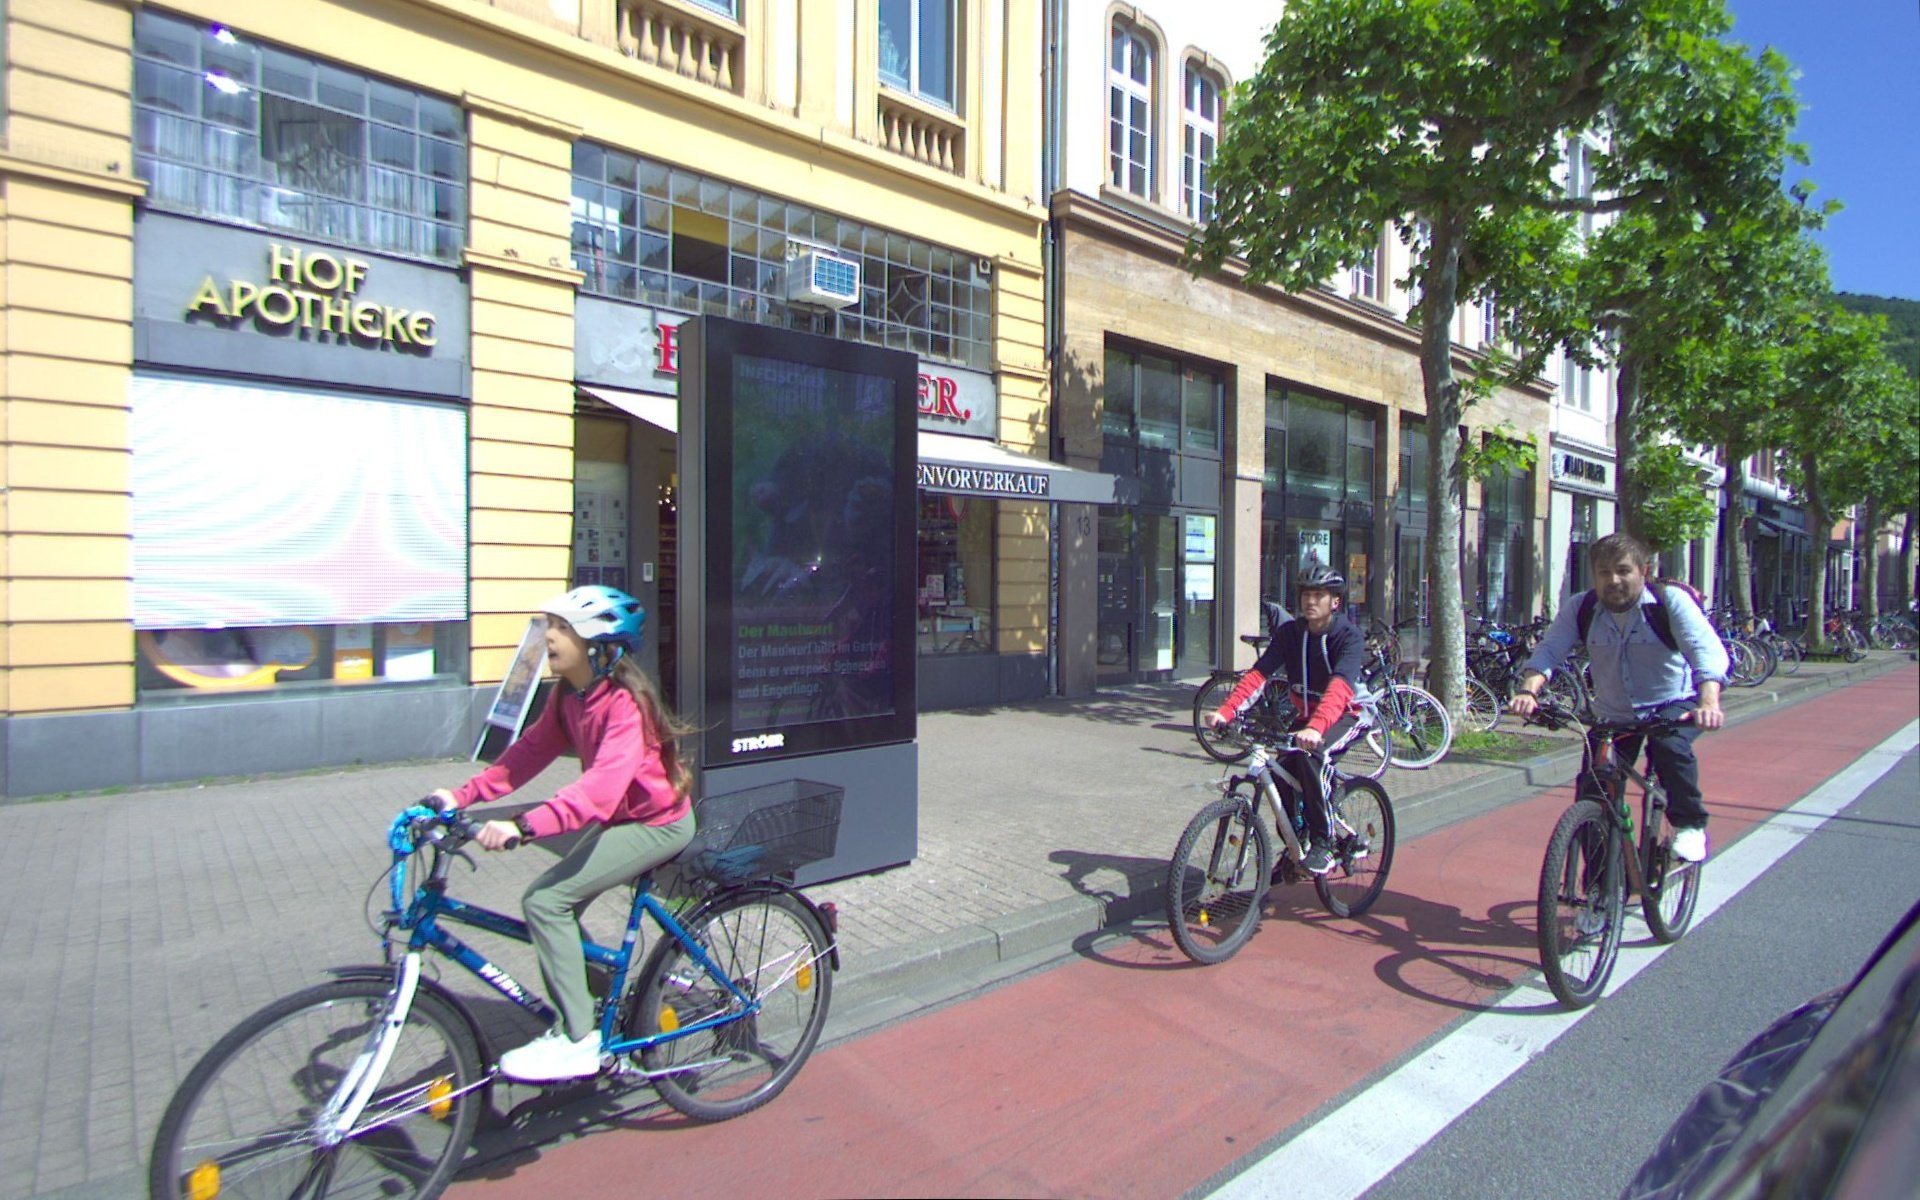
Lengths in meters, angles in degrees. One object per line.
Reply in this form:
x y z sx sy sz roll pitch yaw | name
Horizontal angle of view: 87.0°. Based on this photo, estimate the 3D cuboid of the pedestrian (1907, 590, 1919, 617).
59.486 0.220 62.637 0.892 1.630 0.970 1 4 21 | pedestrian

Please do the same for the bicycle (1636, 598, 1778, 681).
11.700 0.585 15.899 0.469 1.232 1.733 0 0 -38 | bicycle

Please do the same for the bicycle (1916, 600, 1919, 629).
37.563 0.554 38.374 0.554 1.107 1.843 0 0 -40 | bicycle

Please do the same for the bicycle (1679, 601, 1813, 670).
13.730 0.596 17.716 0.723 1.123 1.733 0 0 -38 | bicycle

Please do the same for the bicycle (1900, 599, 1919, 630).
36.622 0.529 38.010 1.835 1.141 0.755 -2 0 37 | bicycle

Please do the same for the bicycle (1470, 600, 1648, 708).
7.340 0.621 12.484 0.465 1.216 1.848 0 0 -38 | bicycle

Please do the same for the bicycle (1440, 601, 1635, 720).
6.499 0.636 11.480 0.597 1.216 1.848 0 0 -38 | bicycle

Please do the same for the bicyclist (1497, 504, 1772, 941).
2.664 0.408 3.982 0.945 1.464 0.699 0 -1 -44 | bicyclist

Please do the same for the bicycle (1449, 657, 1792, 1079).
2.689 0.856 4.001 2.047 1.141 0.699 0 -1 -44 | bicycle

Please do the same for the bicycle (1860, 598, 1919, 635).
31.005 0.534 33.456 1.760 1.212 0.573 0 0 23 | bicycle

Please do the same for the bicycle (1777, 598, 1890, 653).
20.067 0.564 23.276 0.657 1.201 1.845 0 0 -35 | bicycle

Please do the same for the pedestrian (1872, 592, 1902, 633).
28.790 0.392 31.431 0.587 1.248 0.640 -1 1 -43 | pedestrian

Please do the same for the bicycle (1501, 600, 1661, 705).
7.728 0.618 12.653 0.465 1.216 1.653 0 0 -38 | bicycle

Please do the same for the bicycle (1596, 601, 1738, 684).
10.788 0.621 15.495 0.469 1.176 1.733 0 0 -38 | bicycle

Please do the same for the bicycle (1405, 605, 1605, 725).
5.956 0.663 11.163 0.647 1.178 1.848 0 0 -38 | bicycle

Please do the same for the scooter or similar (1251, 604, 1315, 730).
3.326 0.649 10.383 0.418 1.193 1.220 0 0 28 | scooter or similar

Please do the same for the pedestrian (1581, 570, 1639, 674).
10.550 0.342 16.423 0.731 1.632 0.616 0 0 -40 | pedestrian

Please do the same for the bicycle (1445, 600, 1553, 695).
7.228 0.613 13.550 1.621 1.203 0.475 0 0 -29 | bicycle

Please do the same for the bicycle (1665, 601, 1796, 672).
13.067 0.592 17.203 0.395 1.123 1.733 0 0 -38 | bicycle

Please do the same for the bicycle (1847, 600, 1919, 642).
25.936 0.567 28.145 0.487 1.141 1.848 0 0 -29 | bicycle

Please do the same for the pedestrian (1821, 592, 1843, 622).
39.108 0.305 45.412 0.523 1.355 0.682 0 1 -43 | pedestrian

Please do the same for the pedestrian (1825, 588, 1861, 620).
42.096 0.199 48.247 0.823 1.502 1.253 -1 1 -43 | pedestrian

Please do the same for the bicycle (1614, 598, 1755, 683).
11.217 0.590 15.724 0.469 1.232 1.733 0 0 -38 | bicycle

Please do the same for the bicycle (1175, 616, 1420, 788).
2.617 0.738 8.016 0.553 1.136 1.784 0 1 -43 | bicycle

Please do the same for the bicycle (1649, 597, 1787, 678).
12.231 0.570 16.374 0.469 1.232 1.733 0 0 -38 | bicycle

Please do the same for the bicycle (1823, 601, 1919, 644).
24.549 0.585 27.270 0.779 1.111 1.846 0 0 -35 | bicycle

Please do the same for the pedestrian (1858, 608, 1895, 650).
28.220 0.881 31.151 0.566 1.258 0.788 -1 1 -43 | pedestrian

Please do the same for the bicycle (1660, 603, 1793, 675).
12.776 0.624 16.916 0.395 1.123 1.733 0 0 -38 | bicycle

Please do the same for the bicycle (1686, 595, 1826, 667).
14.739 0.539 18.778 0.723 1.264 1.936 0 0 -38 | bicycle

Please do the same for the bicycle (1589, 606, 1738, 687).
10.463 0.657 15.100 0.596 1.109 1.733 0 0 -38 | bicycle

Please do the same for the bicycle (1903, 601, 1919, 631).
36.164 0.580 37.422 1.837 1.107 0.556 -1 0 40 | bicycle

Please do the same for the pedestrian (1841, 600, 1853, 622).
39.690 0.497 45.265 0.429 0.980 0.342 0 0 -39 | pedestrian

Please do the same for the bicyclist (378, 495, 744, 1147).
-1.020 0.457 2.592 0.708 1.374 0.601 -1 1 -41 | bicyclist

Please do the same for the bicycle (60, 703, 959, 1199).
-0.966 0.851 2.642 2.051 0.937 0.601 -1 1 -42 | bicycle

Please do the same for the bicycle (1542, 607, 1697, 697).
8.850 0.664 13.642 0.596 1.109 1.653 0 0 -38 | bicycle

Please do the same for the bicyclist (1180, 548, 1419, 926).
1.491 0.528 4.439 0.777 1.459 0.699 0 -1 -44 | bicyclist

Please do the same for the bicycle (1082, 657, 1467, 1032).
1.451 0.880 4.390 2.047 1.141 0.699 0 -1 -44 | bicycle

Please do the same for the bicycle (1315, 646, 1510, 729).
4.743 0.889 10.649 1.833 0.725 0.652 0 0 29 | bicycle

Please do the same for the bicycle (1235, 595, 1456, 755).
3.498 0.625 9.227 1.811 1.325 0.682 0 0 30 | bicycle

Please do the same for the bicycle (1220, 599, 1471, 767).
3.253 0.639 8.603 1.923 1.273 0.697 0 0 31 | bicycle

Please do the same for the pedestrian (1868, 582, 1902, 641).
27.219 0.336 29.773 0.829 1.711 0.639 1 -2 -43 | pedestrian

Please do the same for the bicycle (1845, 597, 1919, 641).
26.618 0.516 28.963 0.661 1.212 1.847 0 0 -33 | bicycle

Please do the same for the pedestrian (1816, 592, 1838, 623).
38.616 0.315 45.086 0.523 1.349 0.682 0 0 -43 | pedestrian

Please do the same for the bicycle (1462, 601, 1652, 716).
6.897 0.627 11.779 0.535 1.216 1.848 0 0 -38 | bicycle

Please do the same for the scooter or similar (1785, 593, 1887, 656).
18.670 0.516 21.598 0.656 1.290 1.481 0 -1 -29 | scooter or similar

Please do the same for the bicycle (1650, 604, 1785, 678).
12.444 0.642 16.672 0.469 1.123 1.733 0 0 -38 | bicycle

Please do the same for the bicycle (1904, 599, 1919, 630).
35.860 0.522 37.022 1.836 1.141 0.623 -2 -1 39 | bicycle

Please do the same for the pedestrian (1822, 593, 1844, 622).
39.492 0.328 45.787 0.523 1.268 0.682 1 1 -43 | pedestrian

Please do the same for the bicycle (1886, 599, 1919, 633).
32.544 0.546 34.166 1.838 1.141 0.490 -2 -3 42 | bicycle
